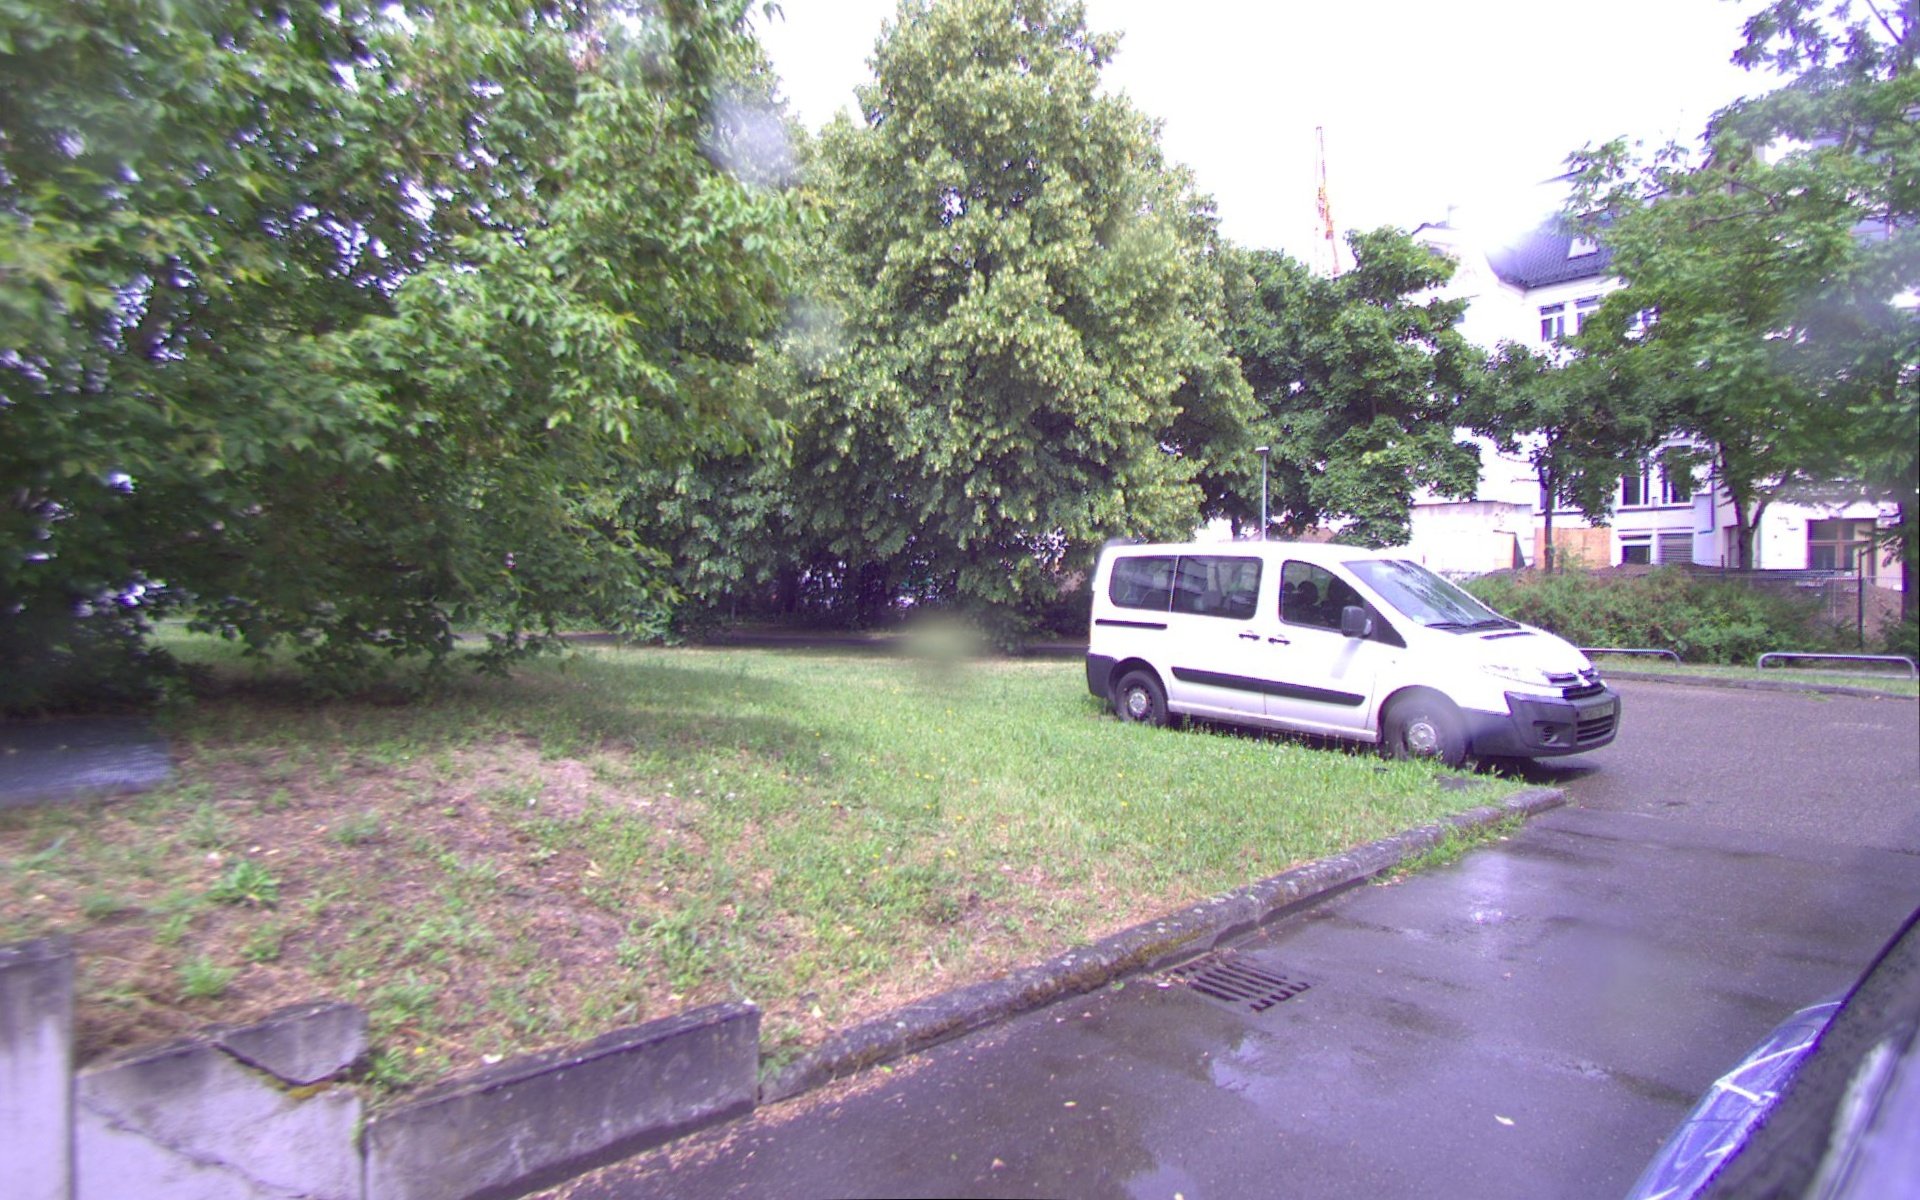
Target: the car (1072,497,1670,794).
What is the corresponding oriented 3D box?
[{"bbox_3d":[3.463,0.281,9.548,1.963,2.039,4.951,0,1,-36],"label":"car"}]
